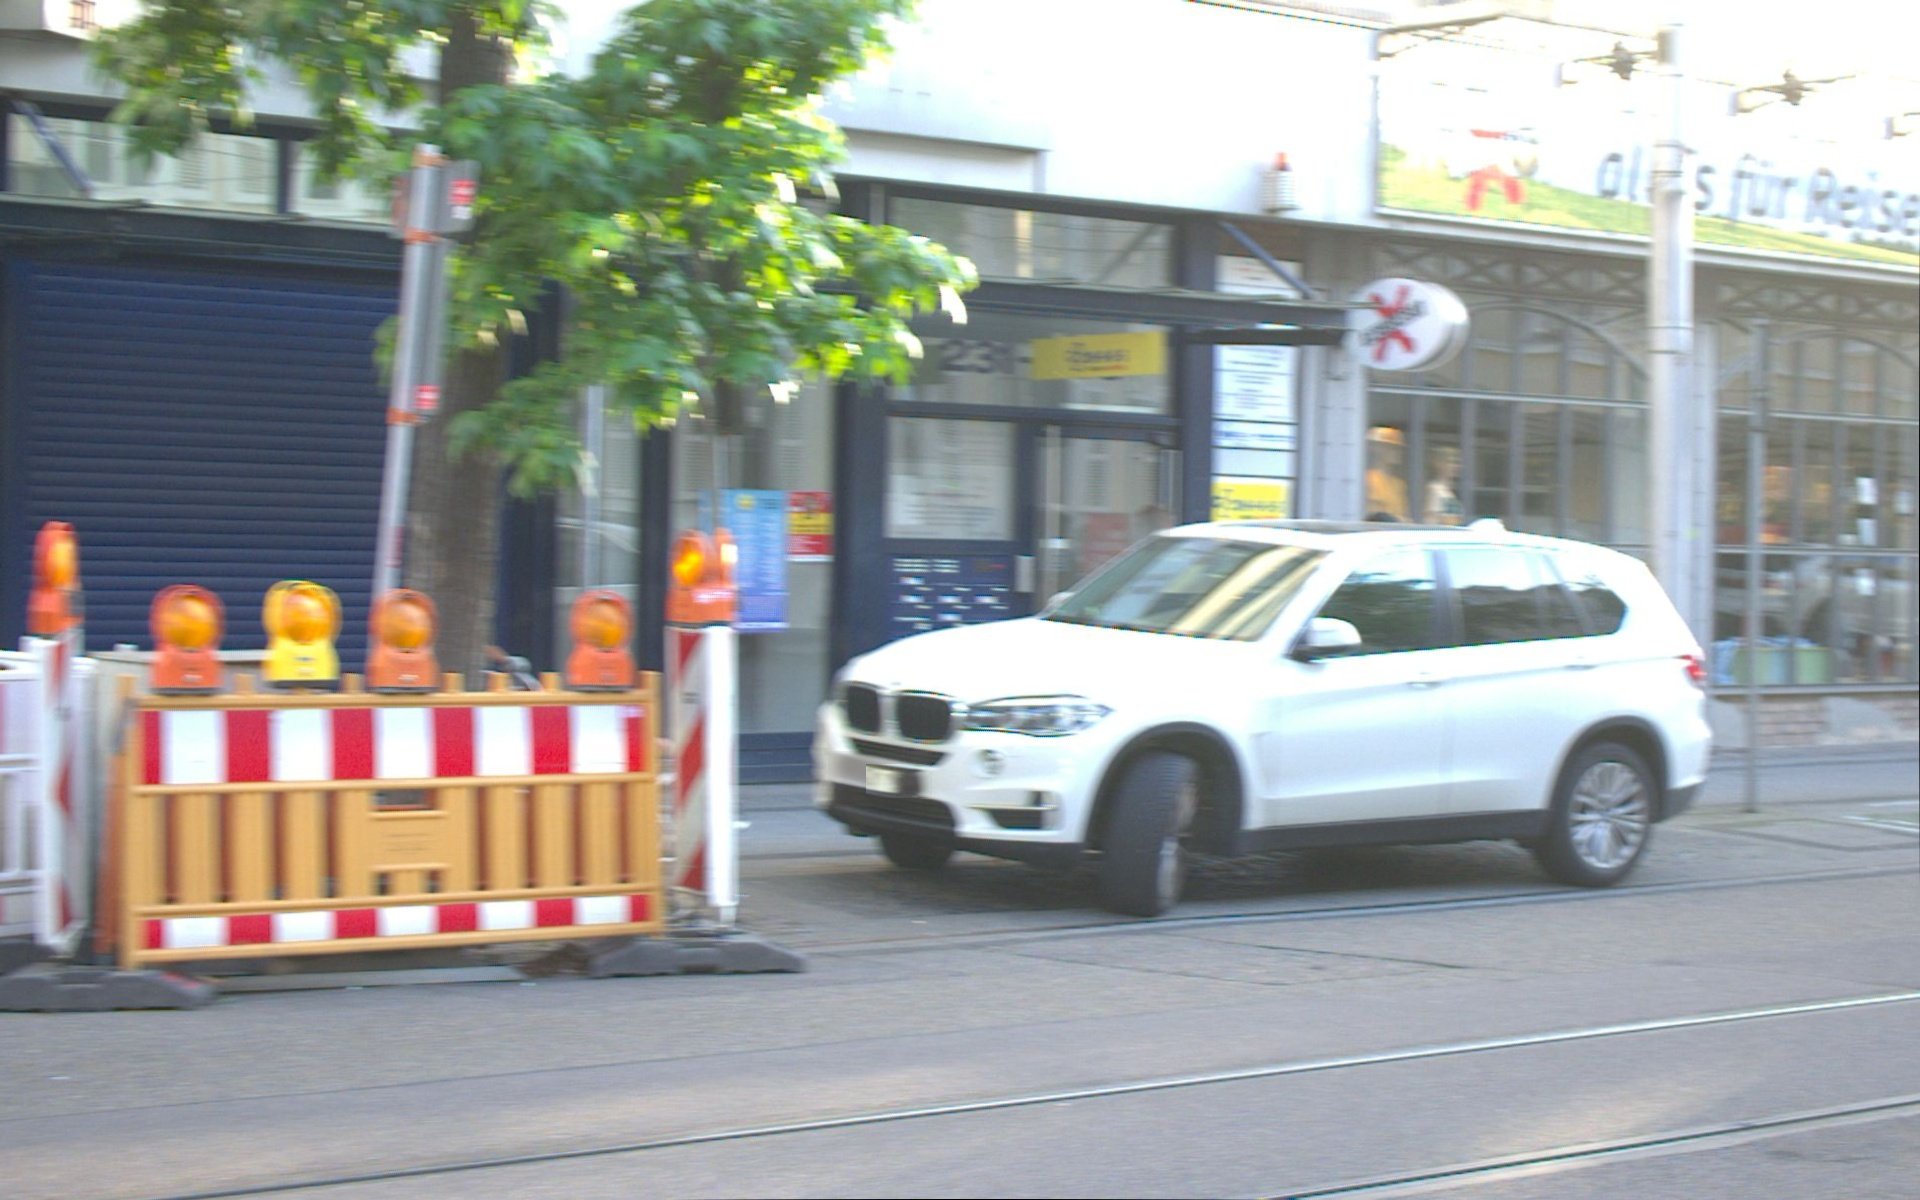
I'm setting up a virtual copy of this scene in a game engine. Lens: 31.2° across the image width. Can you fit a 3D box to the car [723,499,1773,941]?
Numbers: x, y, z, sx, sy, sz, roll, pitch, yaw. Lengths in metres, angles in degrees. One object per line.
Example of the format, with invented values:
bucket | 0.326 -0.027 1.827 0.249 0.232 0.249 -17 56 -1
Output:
car | 1.500 0.509 16.612 4.931 1.769 2.022 1 3 -39
